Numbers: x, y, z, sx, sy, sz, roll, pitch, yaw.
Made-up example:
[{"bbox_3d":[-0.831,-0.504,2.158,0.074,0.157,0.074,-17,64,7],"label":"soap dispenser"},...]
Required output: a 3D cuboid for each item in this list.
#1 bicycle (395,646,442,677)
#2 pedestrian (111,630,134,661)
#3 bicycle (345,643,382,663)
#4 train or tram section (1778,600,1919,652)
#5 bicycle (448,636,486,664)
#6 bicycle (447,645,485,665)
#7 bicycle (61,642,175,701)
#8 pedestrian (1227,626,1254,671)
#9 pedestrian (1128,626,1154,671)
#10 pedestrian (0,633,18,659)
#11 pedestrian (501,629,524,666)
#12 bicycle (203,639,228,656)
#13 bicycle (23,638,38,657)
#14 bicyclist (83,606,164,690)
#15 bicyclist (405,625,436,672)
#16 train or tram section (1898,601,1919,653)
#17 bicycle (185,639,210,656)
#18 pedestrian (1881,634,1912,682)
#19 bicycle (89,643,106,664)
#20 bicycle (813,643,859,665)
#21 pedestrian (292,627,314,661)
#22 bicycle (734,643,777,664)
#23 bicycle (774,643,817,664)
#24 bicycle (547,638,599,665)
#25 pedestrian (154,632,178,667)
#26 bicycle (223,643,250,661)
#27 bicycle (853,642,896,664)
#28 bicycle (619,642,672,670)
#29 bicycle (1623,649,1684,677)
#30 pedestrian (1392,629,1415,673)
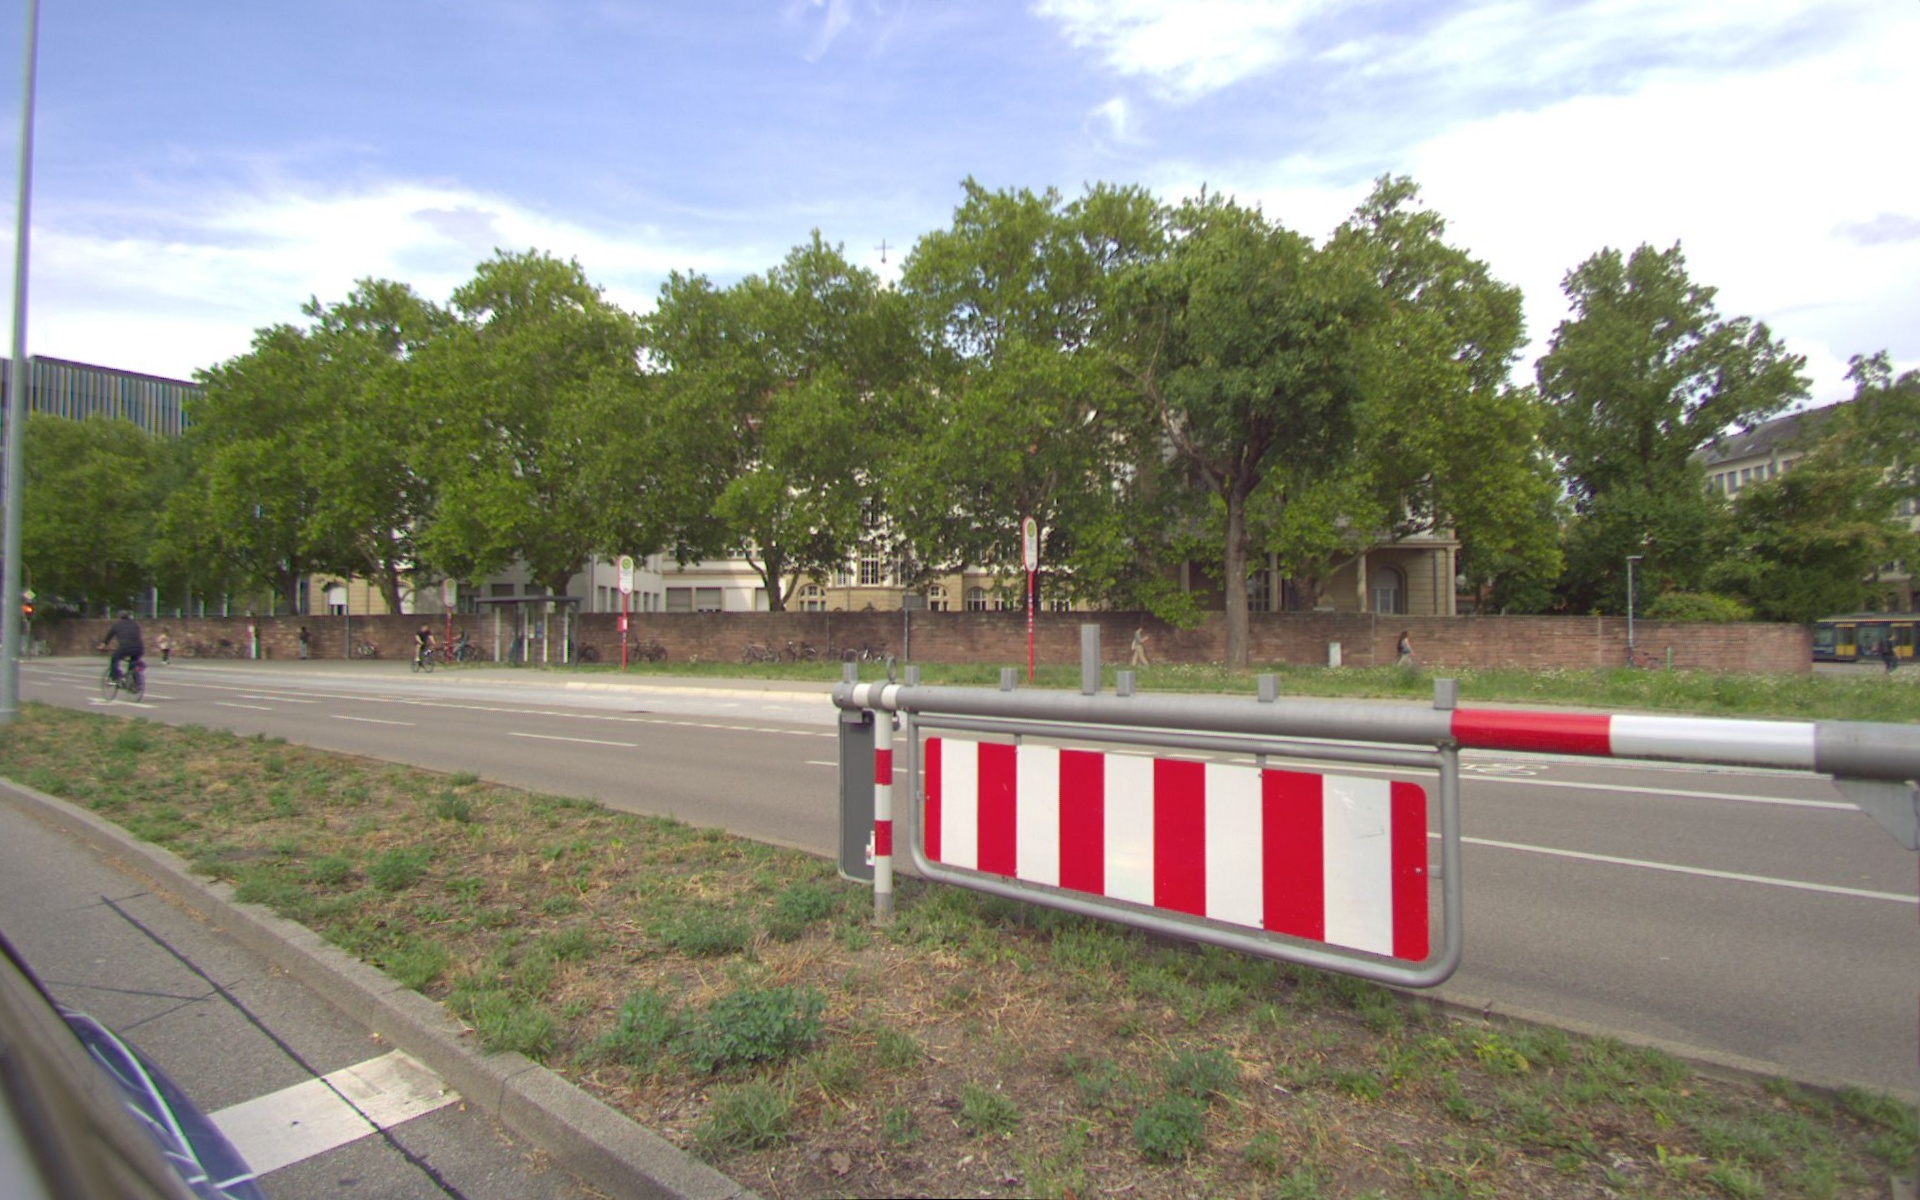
[{"bbox_3d":[-18.657,2.118,34.877,1.965,0.943,0.500,1,0,32],"label":"bicycle"},{"bbox_3d":[-44.360,2.412,53.616,0.663,1.634,0.747,-1,0,32],"label":"pedestrian"},{"bbox_3d":[-28.994,2.581,49.186,1.563,0.894,0.658,-2,1,18],"label":"bicycle"},{"bbox_3d":[62.086,1.708,70.079,3.019,3.302,9.371,-1,0,-1],"label":"train or tram section"},{"bbox_3d":[-22.064,2.258,45.328,0.747,1.198,2.099,0,-4,-2],"label":"bicycle"},{"bbox_3d":[-22.852,2.538,46.805,1.563,0.894,0.658,-2,1,18],"label":"bicycle"},{"bbox_3d":[-17.662,1.494,21.229,2.080,1.198,0.755,-1,-4,16],"label":"bicycle"},{"bbox_3d":[10.555,1.819,38.104,0.768,1.667,0.579,-1,0,-22],"label":"pedestrian"},{"bbox_3d":[6.867,1.838,38.470,0.768,1.667,0.579,-1,0,-20],"label":"pedestrian"},{"bbox_3d":[-62.232,2.990,66.172,0.663,1.634,0.747,-1,0,32],"label":"pedestrian"},{"bbox_3d":[-20.279,2.144,45.847,0.748,1.634,0.566,-1,0,15],"label":"pedestrian"},{"bbox_3d":[-40.205,2.553,54.652,1.568,0.894,0.429,-1,1,27],"label":"bicycle"},{"bbox_3d":[-61.553,3.145,67.035,1.393,1.218,0.507,-1,0,38],"label":"bicycle"},{"bbox_3d":[-17.525,1.013,21.218,1.076,1.724,0.774,-1,-4,16],"label":"bicyclist"},{"bbox_3d":[-18.536,1.654,34.791,0.795,1.567,0.574,1,0,30],"label":"bicyclist"},{"bbox_3d":[62.221,1.702,60.690,3.019,3.237,9.431,-1,0,-1],"label":"train or tram section"},{"bbox_3d":[-41.640,2.574,55.235,1.568,0.894,0.429,-1,1,27],"label":"bicycle"},{"bbox_3d":[35.539,2.187,38.413,0.799,1.724,0.828,-1,0,39],"label":"pedestrian"},{"bbox_3d":[-51.936,3.191,60.937,1.393,1.218,0.507,-1,0,38],"label":"bicycle"},{"bbox_3d":[-5.103,2.210,41.583,1.875,0.871,0.356,-1,-4,19],"label":"bicycle"},{"bbox_3d":[-33.050,2.201,50.905,0.656,1.634,0.755,-1,0,-4],"label":"pedestrian"},{"bbox_3d":[-8.634,2.261,42.666,1.805,0.871,0.357,-1,-4,15],"label":"bicycle"},{"bbox_3d":[-6.875,2.236,42.169,1.794,0.871,0.357,-1,-4,17],"label":"bicycle"},{"bbox_3d":[-17.176,2.287,44.906,2.080,1.198,0.755,-1,-4,16],"label":"bicycle"},{"bbox_3d":[-38.935,2.417,49.641,0.663,1.634,0.747,-1,0,32],"label":"pedestrian"},{"bbox_3d":[-38.241,2.760,53.487,1.568,0.894,0.429,-1,1,27],"label":"bicycle"},{"bbox_3d":[-3.511,2.187,41.592,1.691,0.871,0.357,-1,-4,12],"label":"bicycle"},{"bbox_3d":[-13.571,2.436,43.702,2.080,1.198,0.755,-1,-4,16],"label":"bicycle"},{"bbox_3d":[27.110,2.440,39.574,1.896,1.012,0.781,-1,0,-7],"label":"bicycle"},{"bbox_3d":[17.106,1.953,39.051,0.622,1.667,0.531,-1,0,4],"label":"pedestrian"}]
